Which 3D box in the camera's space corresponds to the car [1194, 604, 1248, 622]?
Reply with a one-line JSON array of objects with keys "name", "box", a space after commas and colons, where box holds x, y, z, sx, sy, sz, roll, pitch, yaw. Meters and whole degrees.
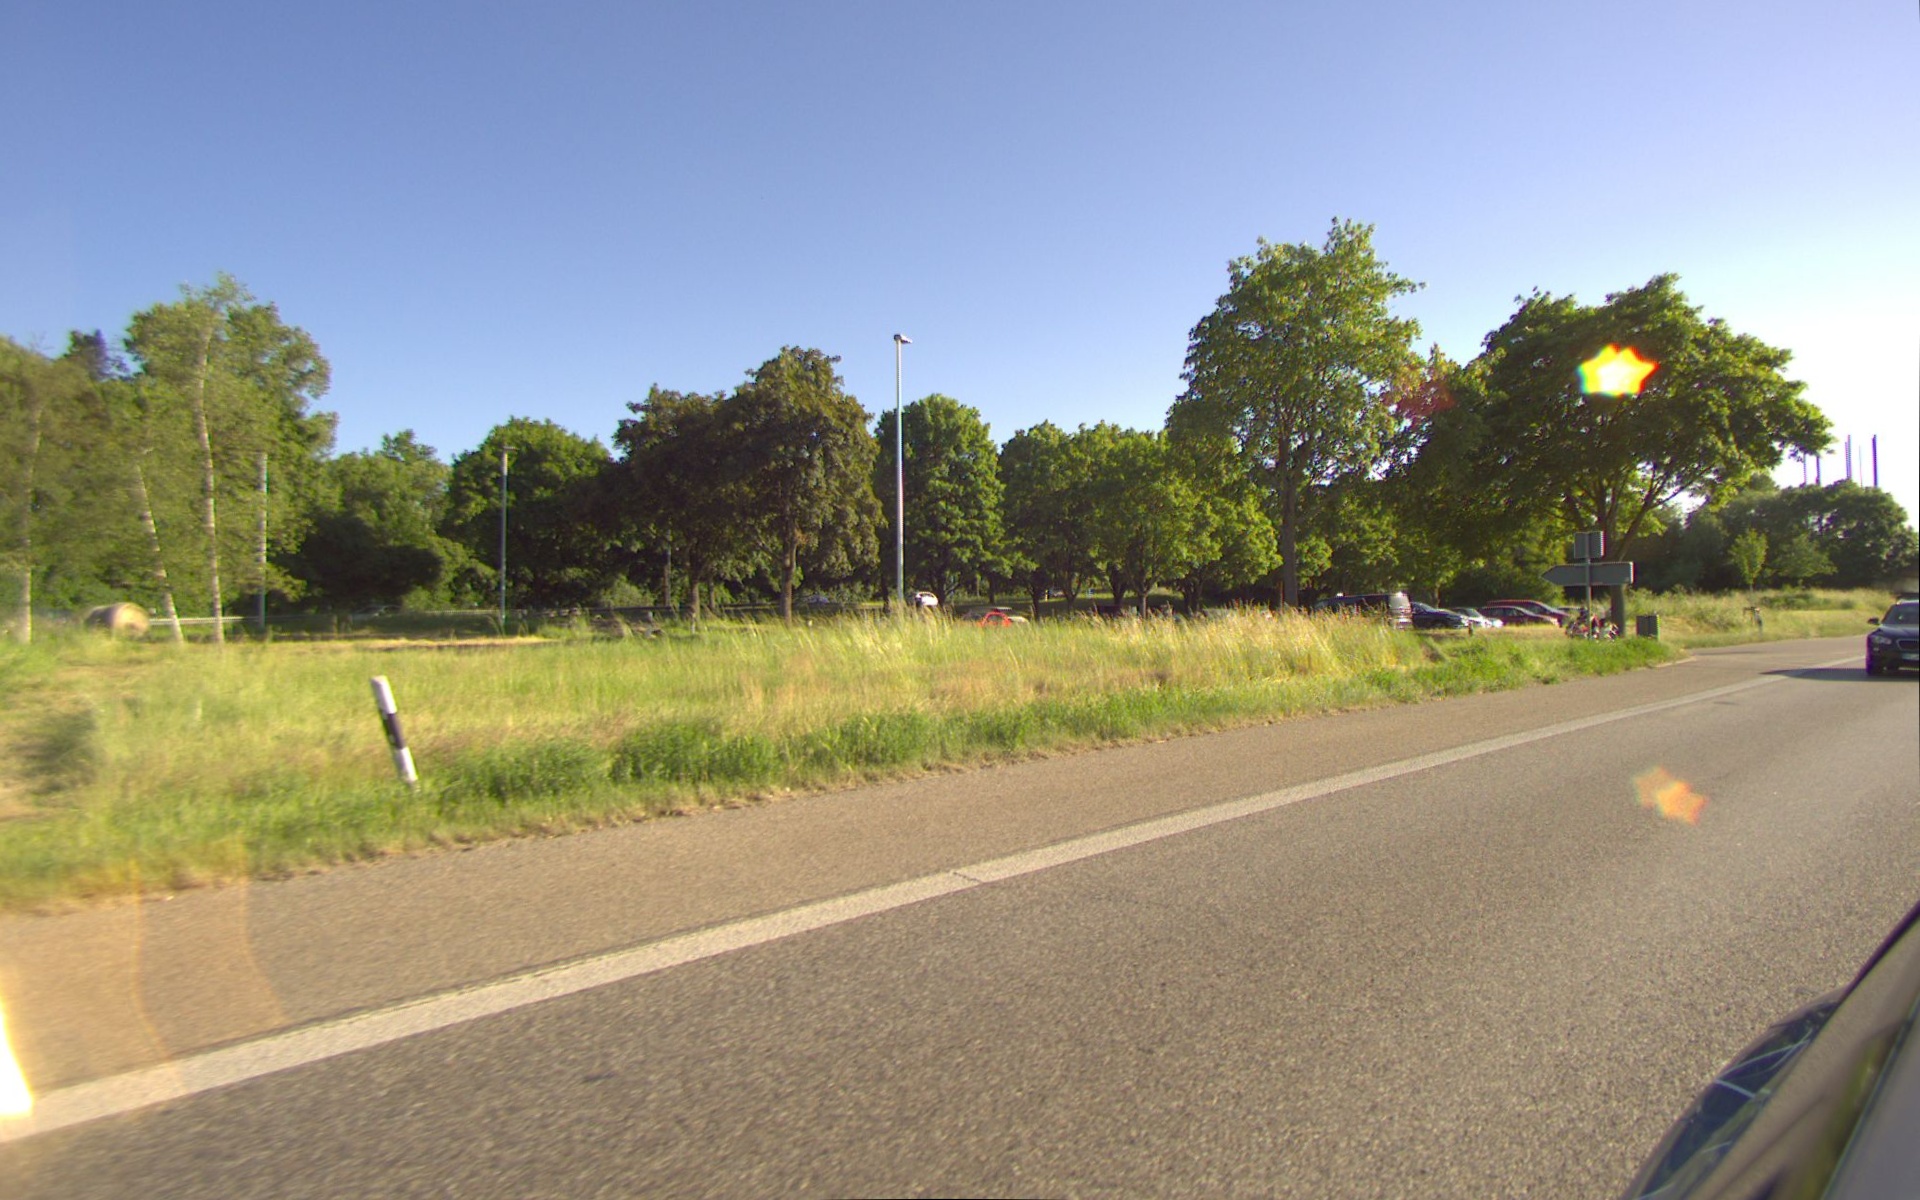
[{"name": "car", "box": [22.188, 1.115, 86.111, 1.836, 1.441, 4.114, -4, 2, -42]}]

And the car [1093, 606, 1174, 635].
[{"name": "car", "box": [10.854, 1.302, 63.602, 2.002, 1.577, 4.865, -2, -2, -38]}]

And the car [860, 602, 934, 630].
[{"name": "car", "box": [-3.811, 0.981, 61.334, 4.169, 1.580, 1.777, -2, -1, 18]}]

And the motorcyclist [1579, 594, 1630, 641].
[{"name": "motorcyclist", "box": [20.592, 0.555, 32.328, 1.071, 1.466, 0.820, -1, 0, -9]}]

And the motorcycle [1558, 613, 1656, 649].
[{"name": "motorcycle", "box": [20.653, 0.967, 32.325, 2.778, 1.083, 0.820, -1, 0, -8]}]

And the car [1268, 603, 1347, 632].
[{"name": "car", "box": [21.554, 1.096, 62.806, 1.711, 1.530, 4.287, -2, -2, -42]}]

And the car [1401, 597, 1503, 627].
[{"name": "car", "box": [25.156, 0.623, 51.819, 1.927, 1.327, 4.217, -2, -2, -41]}]

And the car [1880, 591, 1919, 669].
[{"name": "car", "box": [20.623, 0.618, 21.029, 4.498, 1.525, 1.702, 1, 1, -41]}]

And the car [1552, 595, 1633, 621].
[{"name": "car", "box": [39.602, 0.533, 63.426, 1.893, 1.477, 3.935, -4, 2, -42]}]

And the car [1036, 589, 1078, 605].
[{"name": "car", "box": [9.993, -0.312, 103.925, 3.920, 1.597, 1.911, 0, -1, -30]}]

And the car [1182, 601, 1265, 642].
[{"name": "car", "box": [11.218, 0.939, 43.368, 1.751, 1.580, 4.232, -3, -1, -10]}]

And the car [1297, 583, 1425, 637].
[{"name": "car", "box": [17.985, 0.479, 45.660, 2.053, 2.163, 5.050, -2, -2, -33]}]

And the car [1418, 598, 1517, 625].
[{"name": "car", "box": [26.800, 0.624, 53.529, 1.926, 1.233, 4.219, -2, -2, -39]}]

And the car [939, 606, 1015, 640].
[{"name": "car", "box": [0.837, 1.037, 47.065, 1.690, 1.481, 4.101, -2, -1, 32]}]

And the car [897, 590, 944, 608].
[{"name": "car", "box": [-3.620, -0.051, 92.695, 3.926, 1.597, 1.908, 0, -1, -38]}]

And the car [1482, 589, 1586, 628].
[{"name": "car", "box": [33.191, 0.501, 58.589, 1.993, 2.048, 4.794, -4, 2, -42]}]

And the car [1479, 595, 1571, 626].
[{"name": "car", "box": [31.618, 0.623, 56.698, 1.927, 1.520, 4.012, -1, -2, -41]}]

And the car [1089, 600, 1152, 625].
[{"name": "car", "box": [12.533, 0.980, 79.057, 4.583, 1.798, 1.917, 0, 2, 43]}]

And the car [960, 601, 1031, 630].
[{"name": "car", "box": [2.427, 1.064, 70.635, 1.923, 1.889, 5.199, -1, 1, -41]}]

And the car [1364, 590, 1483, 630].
[{"name": "car", "box": [22.897, 0.536, 50.133, 2.188, 1.700, 4.856, -1, -2, -44]}]
